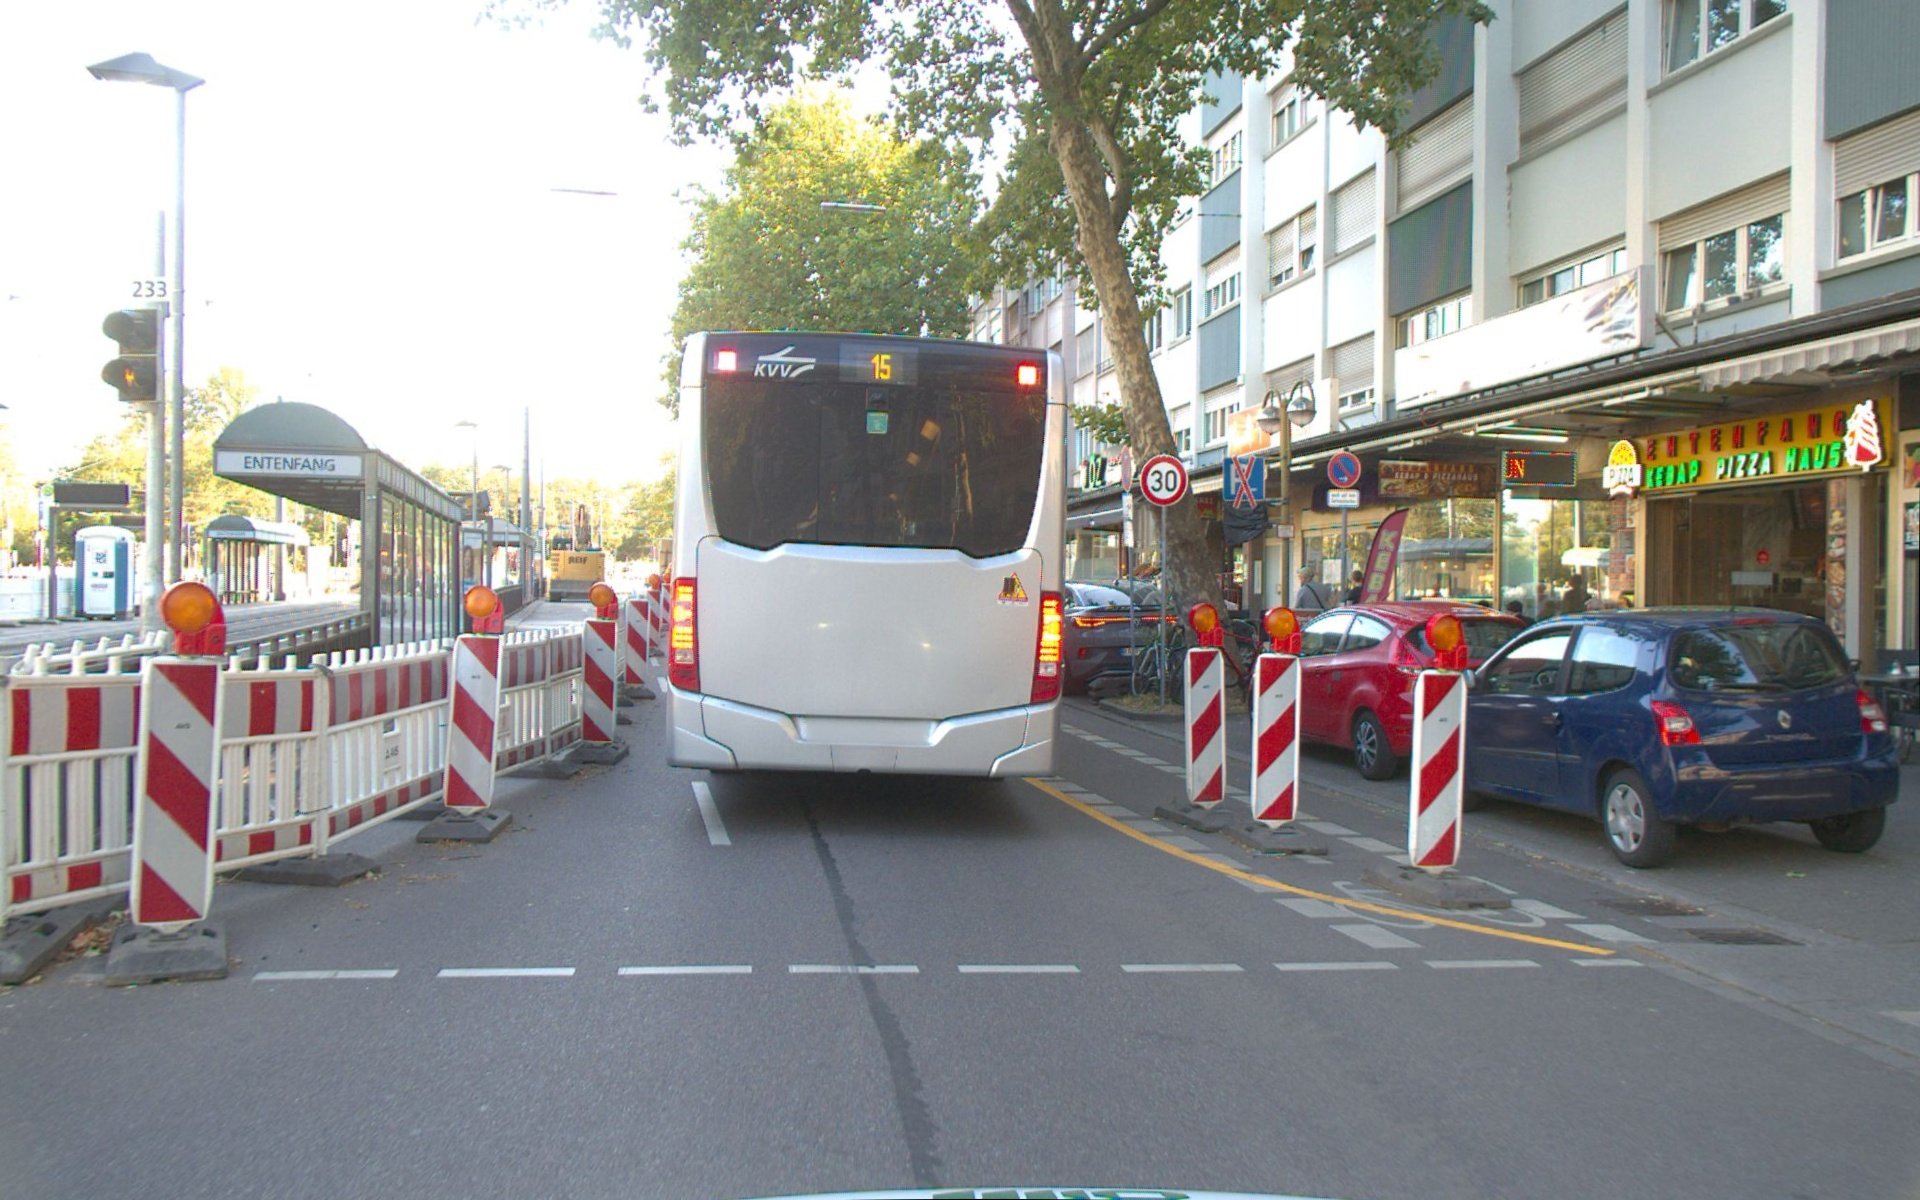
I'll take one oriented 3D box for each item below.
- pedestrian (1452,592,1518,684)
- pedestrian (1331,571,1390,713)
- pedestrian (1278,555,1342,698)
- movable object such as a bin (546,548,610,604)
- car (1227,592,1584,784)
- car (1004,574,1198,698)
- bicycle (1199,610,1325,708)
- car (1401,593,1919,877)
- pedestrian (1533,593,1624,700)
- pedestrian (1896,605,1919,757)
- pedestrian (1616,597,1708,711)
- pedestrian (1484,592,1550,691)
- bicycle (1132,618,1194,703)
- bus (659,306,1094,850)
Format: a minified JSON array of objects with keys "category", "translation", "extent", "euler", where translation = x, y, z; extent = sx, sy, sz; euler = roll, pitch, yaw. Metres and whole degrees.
[{"category":"pedestrian","translation":[7.274,0.522,22.934],"extent":[0.663,1.224,0.704],"euler":[-2,0,3]},{"category":"pedestrian","translation":[5.878,0.609,24.292],"extent":[0.601,2.049,0.695],"euler":[0,0,-10]},{"category":"pedestrian","translation":[5.080,0.380,24.022],"extent":[0.678,2.049,0.694],"euler":[0,0,-12]},{"category":"movable object such as a bin","translation":[-17.481,-1.102,75.858],"extent":[2.757,2.505,3.988],"euler":[1,1,-12]},{"category":"car","translation":[3.938,0.695,15.313],"extent":[1.637,1.454,3.837],"euler":[-2,1,-12]},{"category":"car","translation":[1.988,0.447,24.584],"extent":[1.709,1.625,4.287],"euler":[-2,1,-12]},{"category":"bicycle","translation":[3.623,0.708,19.883],"extent":[1.429,1.084,0.296],"euler":[-3,4,4]},{"category":"car","translation":[4.508,0.748,11.146],"extent":[1.589,1.491,3.597],"euler":[-2,1,-10]},{"category":"pedestrian","translation":[7.537,0.562,20.186],"extent":[0.846,1.242,0.697],"euler":[-2,0,7]},{"category":"pedestrian","translation":[8.555,0.656,13.650],"extent":[1.179,1.254,0.778],"euler":[-2,0,-5]},{"category":"pedestrian","translation":[7.553,0.570,17.822],"extent":[0.582,1.176,0.752],"euler":[-2,0,-6]},{"category":"pedestrian","translation":[7.371,0.544,21.902],"extent":[0.603,1.265,0.712],"euler":[-2,0,2]},{"category":"bicycle","translation":[2.508,0.739,20.540],"extent":[0.290,0.943,1.125],"euler":[-4,4,-17]},{"category":"bus","translation":[-0.944,-0.164,15.107],"extent":[2.557,3.225,10.280],"euler":[1,0,-5]}]
